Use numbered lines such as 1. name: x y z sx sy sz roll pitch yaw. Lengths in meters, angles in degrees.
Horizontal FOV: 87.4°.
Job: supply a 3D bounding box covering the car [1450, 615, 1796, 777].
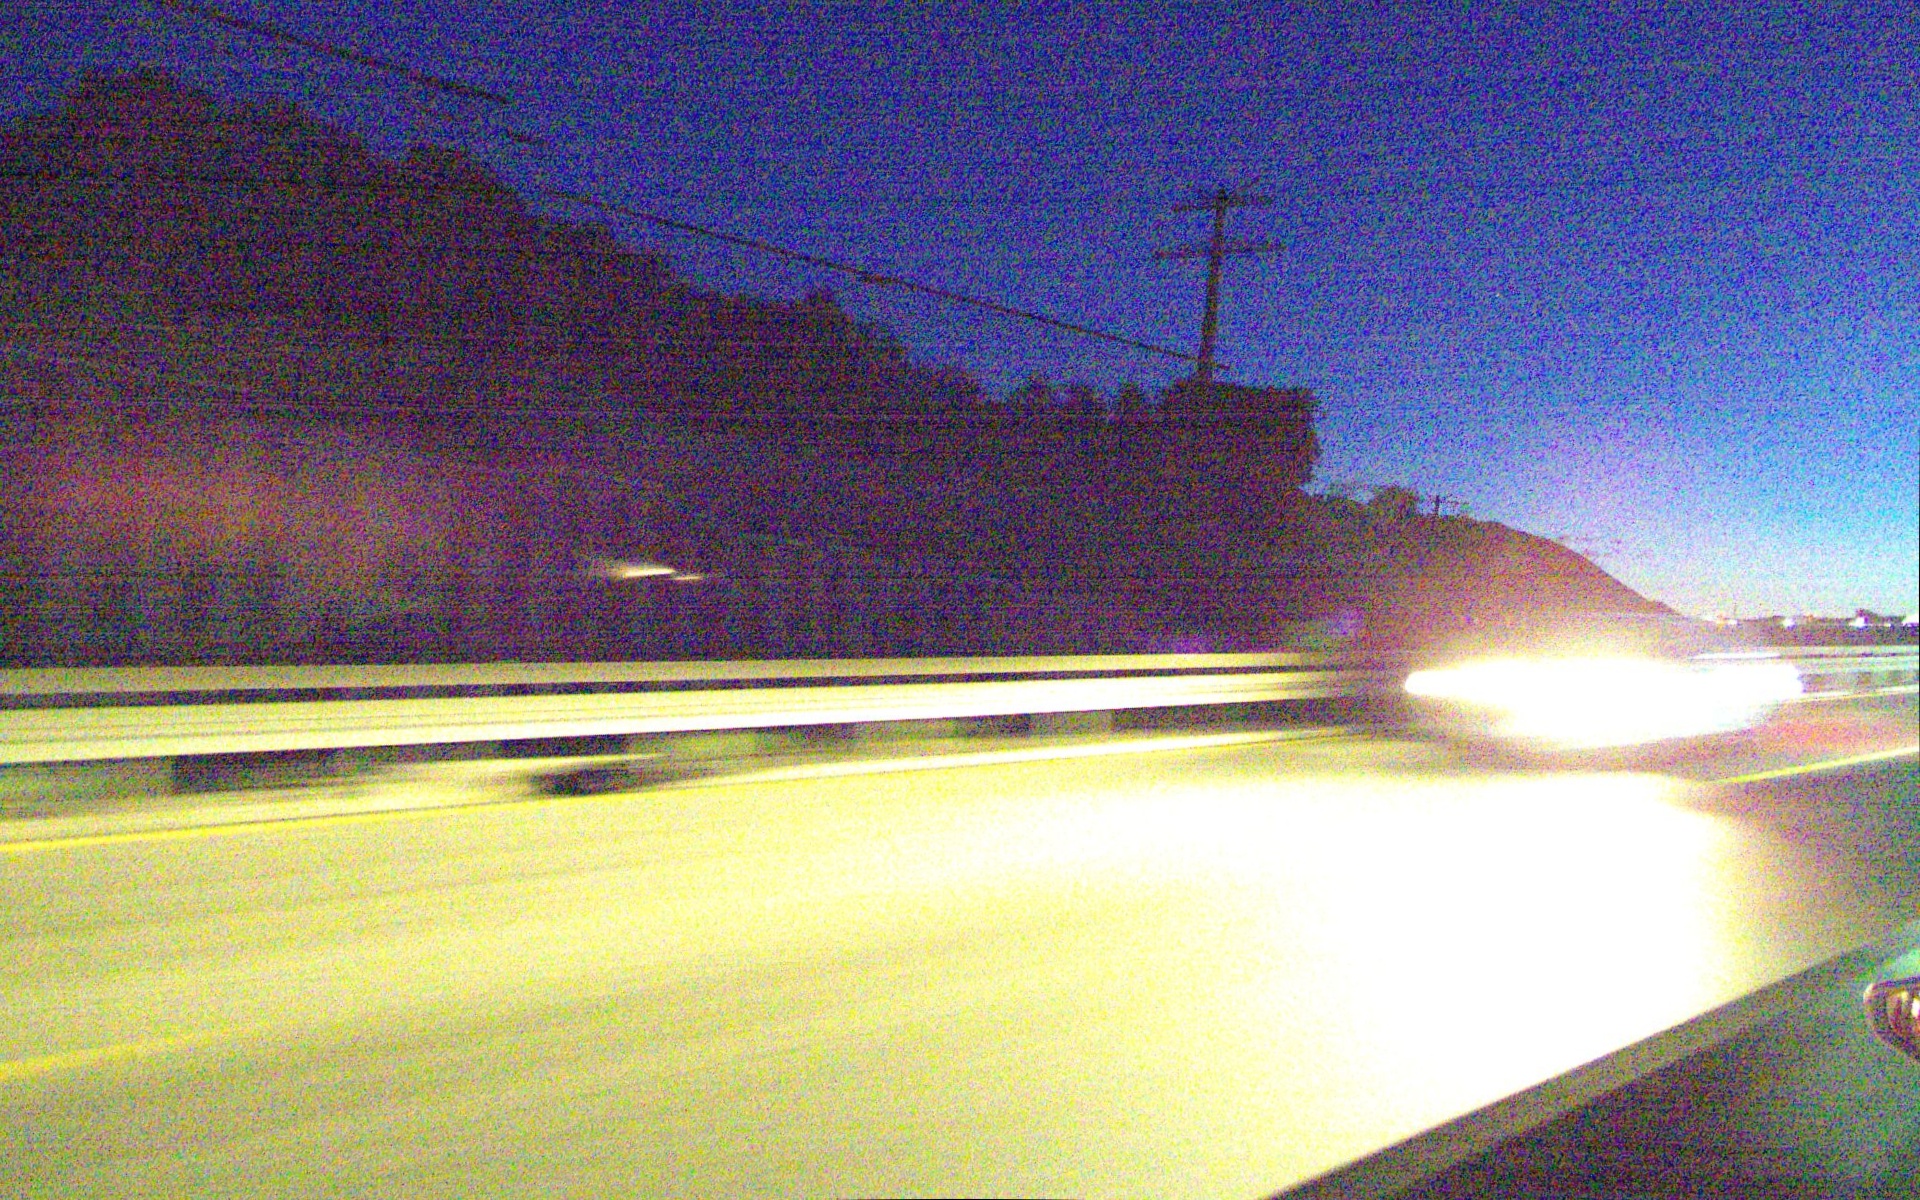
1. car: 7.376 0.946 11.058 4.155 1.478 1.675 2 -1 -33
